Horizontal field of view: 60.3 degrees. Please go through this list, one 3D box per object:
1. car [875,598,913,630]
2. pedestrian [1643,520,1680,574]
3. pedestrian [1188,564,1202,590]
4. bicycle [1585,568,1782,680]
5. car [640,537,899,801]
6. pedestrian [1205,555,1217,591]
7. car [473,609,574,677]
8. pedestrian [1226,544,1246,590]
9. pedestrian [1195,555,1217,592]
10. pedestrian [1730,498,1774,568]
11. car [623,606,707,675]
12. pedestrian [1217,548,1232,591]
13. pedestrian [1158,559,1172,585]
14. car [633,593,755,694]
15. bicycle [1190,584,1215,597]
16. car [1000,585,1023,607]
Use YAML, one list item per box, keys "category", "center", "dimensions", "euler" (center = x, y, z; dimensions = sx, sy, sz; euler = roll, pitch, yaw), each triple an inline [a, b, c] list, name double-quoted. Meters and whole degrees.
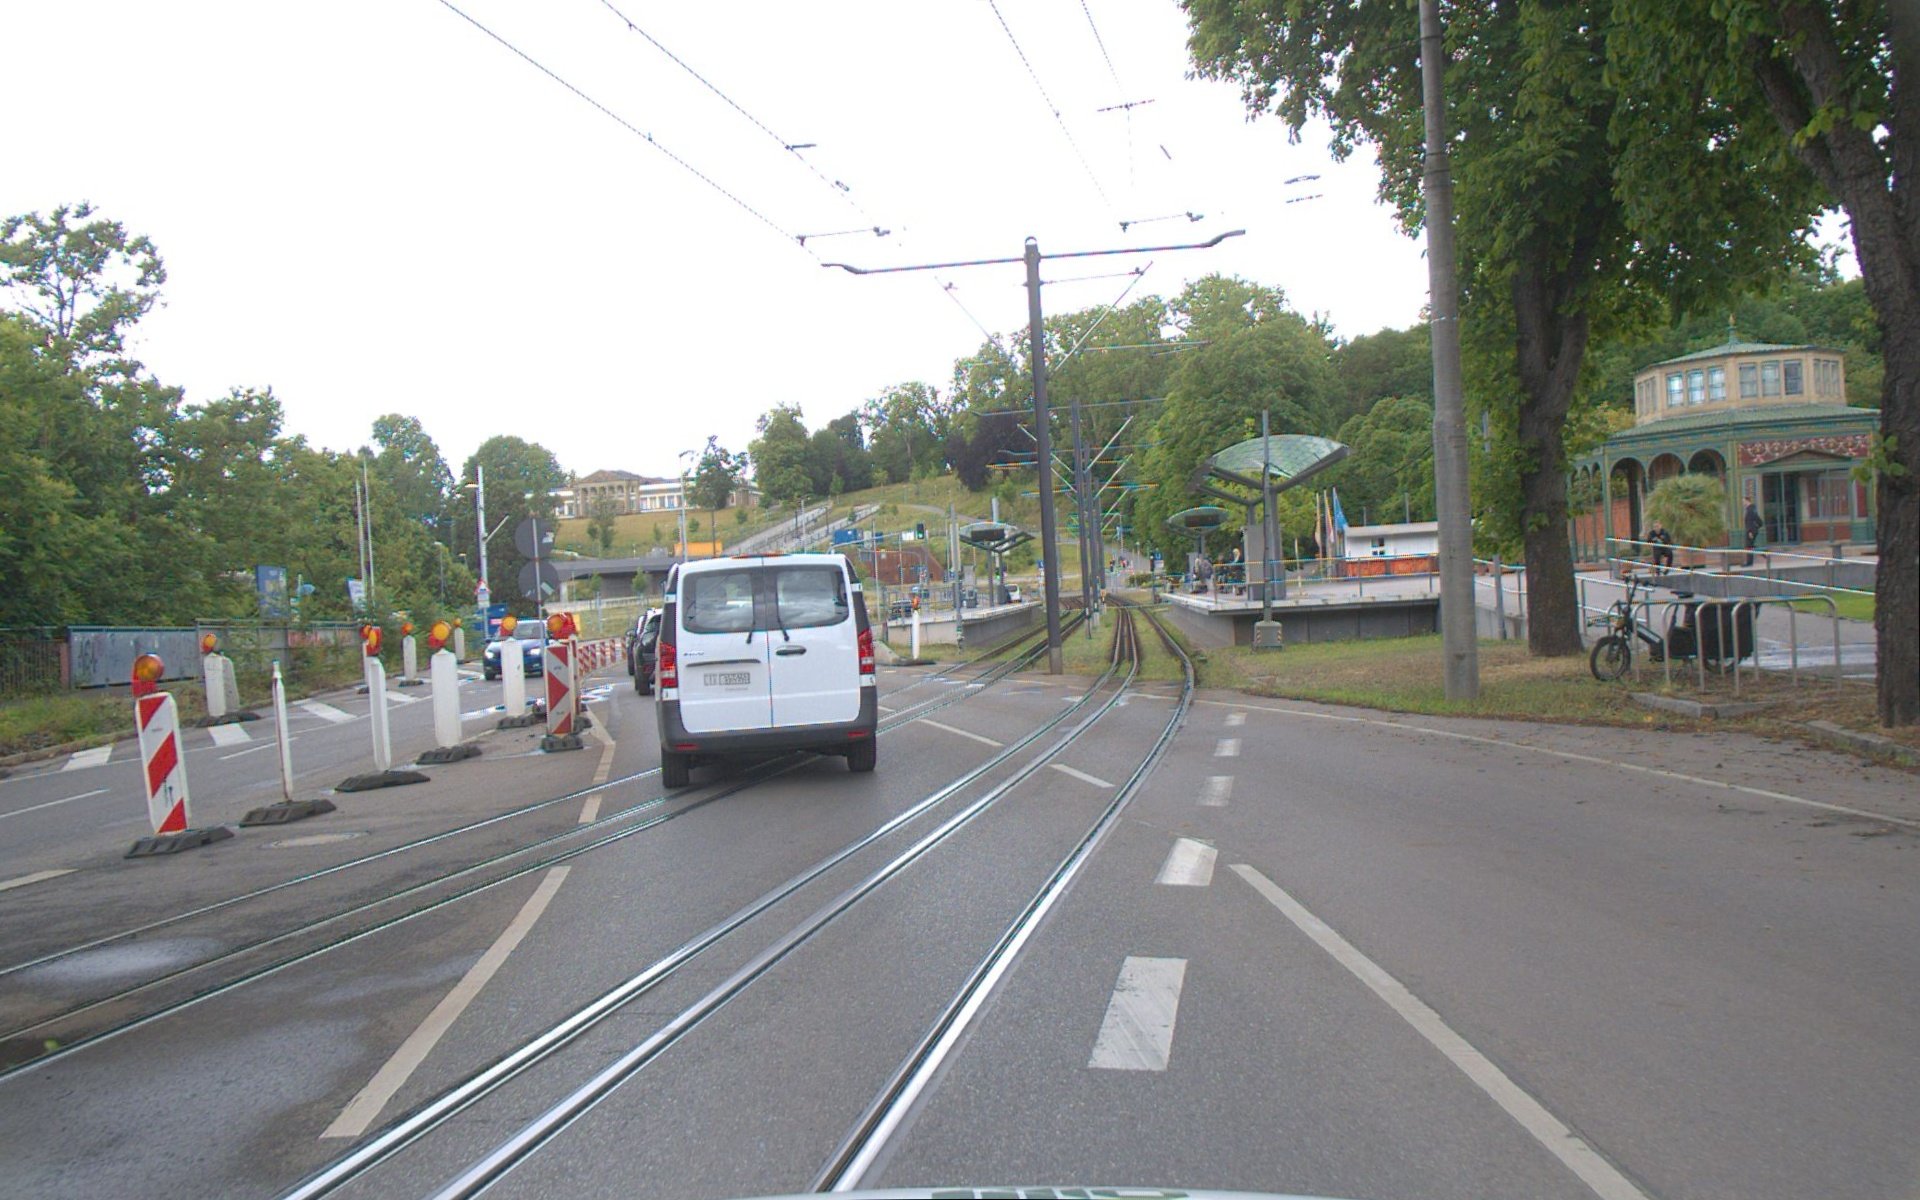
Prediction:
- category: "car"
  center: [-3.879, 0.803, 97.911]
  dimensions: [1.952, 1.803, 4.001]
  euler: [-1, 0, 1]
- category: "pedestrian"
  center: [16.211, -1.216, 38.244]
  dimensions: [0.537, 1.222, 0.669]
  euler: [-1, 0, -1]
- category: "pedestrian"
  center: [11.236, -1.077, 79.085]
  dimensions: [0.643, 1.212, 0.676]
  euler: [-1, 0, 7]
- category: "bicycle"
  center: [8.541, 0.282, 19.593]
  dimensions: [1.949, 1.178, 0.742]
  euler: [-4, 0, 10]
- category: "car"
  center: [-1.858, 0.543, 15.209]
  dimensions: [1.924, 1.936, 4.451]
  euler: [-4, 0, -10]
- category: "pedestrian"
  center: [11.737, -1.267, 77.302]
  dimensions: [0.513, 1.648, 0.676]
  euler: [-1, 0, 7]
- category: "car"
  center: [-11.505, 1.101, 43.819]
  dimensions: [1.661, 1.486, 3.912]
  euler: [-4, 1, -2]
- category: "pedestrian"
  center: [10.453, -1.234, 62.647]
  dimensions: [0.619, 1.717, 0.866]
  euler: [-1, 0, 5]
- category: "pedestrian"
  center: [11.659, -1.261, 78.411]
  dimensions: [0.843, 1.706, 0.761]
  euler: [-1, 0, -4]
- category: "pedestrian"
  center: [21.913, -1.839, 45.745]
  dimensions: [0.546, 1.870, 0.936]
  euler: [-1, -1, -44]
- category: "car"
  center: [-7.451, 0.992, 42.087]
  dimensions: [1.803, 1.610, 4.056]
  euler: [-2, 0, -7]
- category: "pedestrian"
  center: [11.899, -1.370, 74.466]
  dimensions: [0.619, 1.870, 0.951]
  euler: [-1, 0, 7]
- category: "pedestrian"
  center: [11.005, -1.484, 88.671]
  dimensions: [0.659, 1.347, 0.968]
  euler: [-1, 0, 4]
- category: "car"
  center: [-5.031, 0.788, 31.808]
  dimensions: [1.802, 1.759, 4.060]
  euler: [-2, 0, -3]
- category: "bicycle"
  center: [19.170, -0.771, 130.648]
  dimensions: [1.872, 0.911, 0.531]
  euler: [-5, 0, 6]
- category: "car"
  center: [5.104, -0.369, 164.361]
  dimensions: [2.155, 2.049, 5.151]
  euler: [-3, 0, 1]
